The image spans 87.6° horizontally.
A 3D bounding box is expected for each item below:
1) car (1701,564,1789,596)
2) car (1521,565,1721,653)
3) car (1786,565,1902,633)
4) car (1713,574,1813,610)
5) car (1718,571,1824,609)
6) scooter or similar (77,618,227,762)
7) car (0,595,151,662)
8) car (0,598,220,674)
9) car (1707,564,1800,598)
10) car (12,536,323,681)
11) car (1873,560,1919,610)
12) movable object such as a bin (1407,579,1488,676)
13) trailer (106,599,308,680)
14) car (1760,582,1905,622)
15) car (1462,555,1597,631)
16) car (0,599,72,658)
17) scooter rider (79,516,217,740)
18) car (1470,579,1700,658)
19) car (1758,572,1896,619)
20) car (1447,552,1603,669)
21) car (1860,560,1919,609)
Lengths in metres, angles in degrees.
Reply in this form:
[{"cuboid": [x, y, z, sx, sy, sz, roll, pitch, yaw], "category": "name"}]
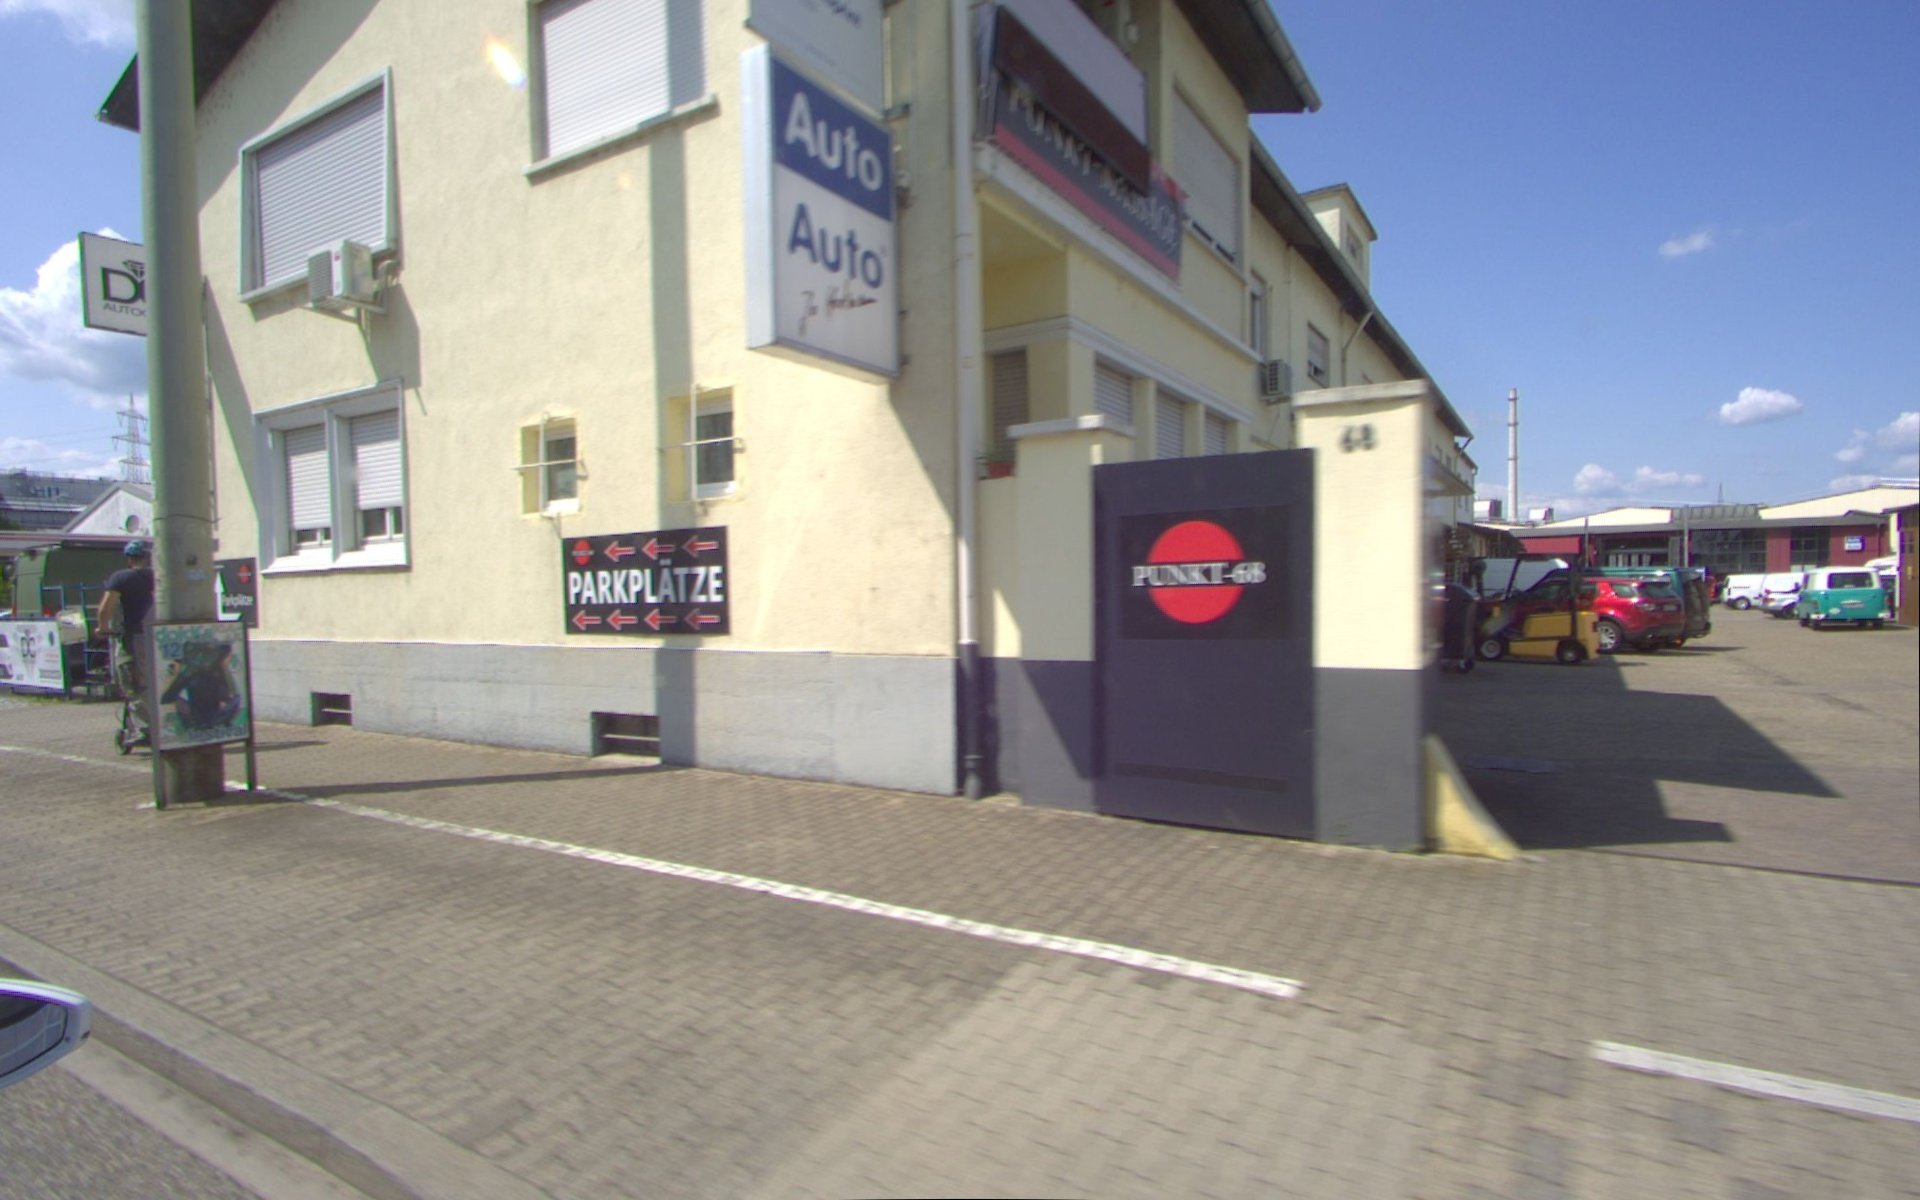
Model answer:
[{"cuboid": [47.583, -1.224, 60.834, 3.941, 1.810, 1.990, -1, 1, 30], "category": "car"}, {"cuboid": [16.676, 0.208, 25.435, 1.758, 2.049, 3.861, -2, 1, -32], "category": "car"}, {"cuboid": [27.064, -0.057, 30.802, 1.971, 1.944, 3.978, -1, 1, 31], "category": "car"}, {"cuboid": [43.433, -0.444, 54.291, 3.941, 1.810, 1.990, -1, 1, 30], "category": "car"}, {"cuboid": [41.753, -0.518, 51.672, 3.941, 1.810, 1.990, -1, 1, 30], "category": "car"}, {"cuboid": [-7.489, 0.797, 9.264, 1.588, 1.211, 0.539, -1, 3, 32], "category": "scooter or similar"}, {"cuboid": [-22.414, 0.678, 24.498, 3.958, 1.516, 1.734, -2, 1, -43], "category": "car"}, {"cuboid": [-18.680, 0.718, 21.507, 1.798, 1.450, 4.164, -1, 1, 39], "category": "car"}, {"cuboid": [46.062, -1.110, 58.237, 3.941, 1.810, 1.990, -1, 1, 30], "category": "car"}, {"cuboid": [-16.030, 0.135, 20.504, 2.122, 2.608, 4.524, -1, 1, 34], "category": "car"}, {"cuboid": [47.487, -0.777, 47.972, 5.127, 2.390, 2.340, -1, 1, 30], "category": "car"}, {"cuboid": [8.067, 0.419, 16.543, 0.987, 1.473, 1.488, 4, 3, 32], "category": "movable object such as a bin"}, {"cuboid": [-14.366, 0.706, 19.215, 1.284, 1.351, 2.775, -1, 2, 33], "category": "trailer"}, {"cuboid": [33.685, 0.090, 38.818, 3.942, 1.409, 1.989, -1, 1, 32], "category": "car"}, {"cuboid": [20.335, -0.219, 35.884, 4.077, 2.558, 1.990, -1, 1, 30], "category": "car"}, {"cuboid": [-25.220, 0.746, 25.390, 3.955, 1.462, 1.696, -2, 1, -40], "category": "car"}, {"cuboid": [-7.620, 0.250, 9.407, 0.774, 1.990, 0.715, -1, 2, 33], "category": "scooter rider"}, {"cuboid": [14.560, 0.340, 23.574, 1.970, 1.682, 4.166, -1, 2, -28], "category": "car"}, {"cuboid": [35.284, -0.186, 40.919, 3.941, 1.810, 1.989, -1, 1, 31], "category": "car"}, {"cuboid": [11.223, 0.186, 19.885, 2.559, 2.144, 1.988, 1, 1, 34], "category": "car"}, {"cuboid": [48.766, -0.842, 50.142, 5.127, 2.390, 2.340, -1, 1, 30], "category": "car"}]
